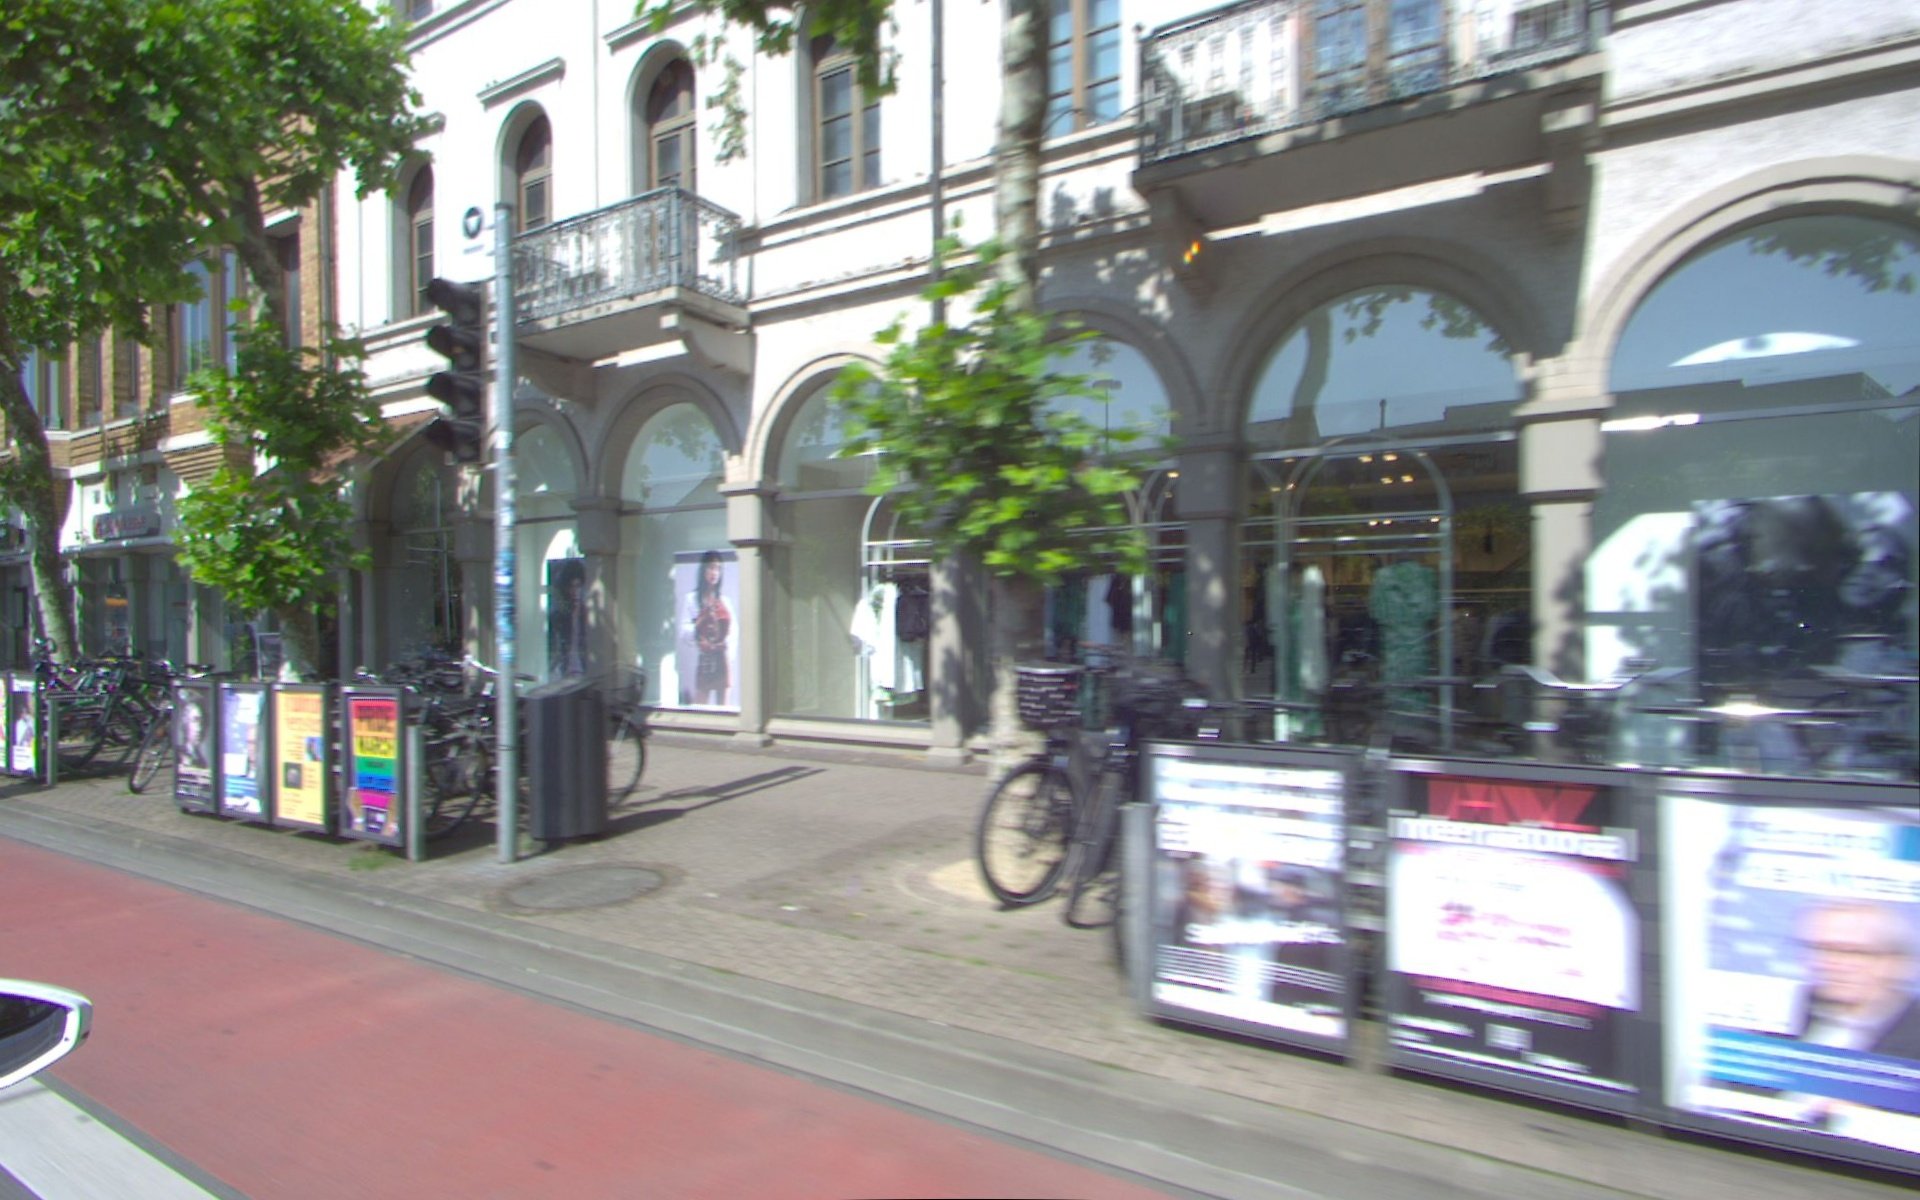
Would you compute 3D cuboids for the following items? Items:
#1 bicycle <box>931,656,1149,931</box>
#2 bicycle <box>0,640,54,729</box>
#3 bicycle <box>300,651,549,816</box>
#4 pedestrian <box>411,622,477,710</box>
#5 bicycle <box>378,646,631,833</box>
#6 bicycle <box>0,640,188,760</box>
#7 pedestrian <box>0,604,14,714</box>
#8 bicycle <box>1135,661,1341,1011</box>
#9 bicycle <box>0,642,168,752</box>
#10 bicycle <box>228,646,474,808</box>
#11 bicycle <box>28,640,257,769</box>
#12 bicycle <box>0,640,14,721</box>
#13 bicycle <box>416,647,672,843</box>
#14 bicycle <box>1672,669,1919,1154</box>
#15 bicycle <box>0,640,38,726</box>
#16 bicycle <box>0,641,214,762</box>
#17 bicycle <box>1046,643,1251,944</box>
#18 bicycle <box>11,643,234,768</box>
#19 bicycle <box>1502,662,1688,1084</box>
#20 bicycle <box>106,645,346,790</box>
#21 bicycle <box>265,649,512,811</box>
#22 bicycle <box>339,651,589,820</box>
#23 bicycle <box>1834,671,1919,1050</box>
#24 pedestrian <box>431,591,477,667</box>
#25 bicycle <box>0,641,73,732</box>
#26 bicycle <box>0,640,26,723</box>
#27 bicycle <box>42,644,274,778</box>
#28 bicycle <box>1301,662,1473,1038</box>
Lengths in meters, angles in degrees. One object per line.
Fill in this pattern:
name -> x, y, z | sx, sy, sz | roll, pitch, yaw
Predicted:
bicycle -> 0.499, 0.914, 5.362 | 0.475, 1.162, 1.772 | 0, -1, 29
bicycle -> -13.117, 1.127, 13.156 | 0.475, 1.162, 1.751 | 0, -1, 29
bicycle -> -4.120, 0.974, 7.853 | 0.475, 1.101, 1.751 | 0, -1, 29
pedestrian -> -7.552, 0.962, 14.676 | 0.715, 1.268, 0.591 | 1, -2, -15
bicycle -> -3.260, 0.943, 7.343 | 0.475, 1.162, 1.751 | 0, -1, 29
bicycle -> -9.673, 1.059, 11.075 | 0.475, 1.202, 1.751 | 0, -1, 29
pedestrian -> -14.862, 0.885, 15.179 | 0.722, 1.654, 0.649 | -1, -2, 40
bicycle -> 1.292, 0.885, 4.416 | 0.475, 1.162, 1.751 | 0, -1, 29
bicycle -> -10.105, 1.065, 11.331 | 0.475, 1.138, 1.751 | 0, -1, 29
bicycle -> -4.989, 0.983, 8.340 | 0.475, 1.162, 1.751 | 0, -1, 29
bicycle -> -8.265, 1.008, 10.216 | 0.519, 1.162, 1.751 | 0, -1, 29
bicycle -> -14.394, 1.151, 13.915 | 0.475, 1.162, 1.751 | 0, -1, 29
bicycle -> -2.843, 0.933, 7.038 | 0.475, 1.162, 1.751 | 0, -1, 29
bicycle -> 2.808, 0.854, 3.370 | 0.475, 1.162, 1.751 | 0, -1, 29
bicycle -> -13.560, 1.134, 13.402 | 0.475, 1.162, 1.751 | 0, -1, 29
bicycle -> -9.133, 1.040, 10.757 | 0.475, 1.162, 1.751 | 0, -1, 29
bicycle -> 1.021, 0.844, 5.066 | 0.475, 1.209, 1.797 | 0, -1, 29
bicycle -> -8.703, 1.048, 10.494 | 0.475, 1.162, 1.751 | 0, -1, 29
bicycle -> 2.347, 0.852, 3.814 | 0.475, 1.162, 1.751 | 0, -1, 29
bicycle -> -6.657, 1.016, 9.188 | 0.475, 1.162, 1.751 | 0, -1, 29
bicycle -> -4.549, 0.979, 8.104 | 0.475, 1.119, 1.751 | 0, -1, 29
bicycle -> -3.688, 0.953, 7.607 | 0.475, 1.082, 1.751 | 0, -1, 29
bicycle -> 3.298, 0.849, 3.143 | 0.475, 1.162, 1.751 | 0, -1, 29
pedestrian -> -10.128, 0.587, 20.053 | 0.637, 1.473, 0.596 | -1, -2, 40
bicycle -> -12.612, 1.119, 12.874 | 0.492, 1.162, 1.751 | 0, -1, 29
bicycle -> -13.970, 1.144, 13.660 | 0.475, 1.162, 1.751 | 0, -1, 29
bicycle -> -7.838, 1.039, 9.880 | 0.475, 1.162, 1.751 | 0, -1, 29
bicycle -> 1.830, 0.873, 4.165 | 0.475, 1.162, 1.751 | 0, -1, 29
